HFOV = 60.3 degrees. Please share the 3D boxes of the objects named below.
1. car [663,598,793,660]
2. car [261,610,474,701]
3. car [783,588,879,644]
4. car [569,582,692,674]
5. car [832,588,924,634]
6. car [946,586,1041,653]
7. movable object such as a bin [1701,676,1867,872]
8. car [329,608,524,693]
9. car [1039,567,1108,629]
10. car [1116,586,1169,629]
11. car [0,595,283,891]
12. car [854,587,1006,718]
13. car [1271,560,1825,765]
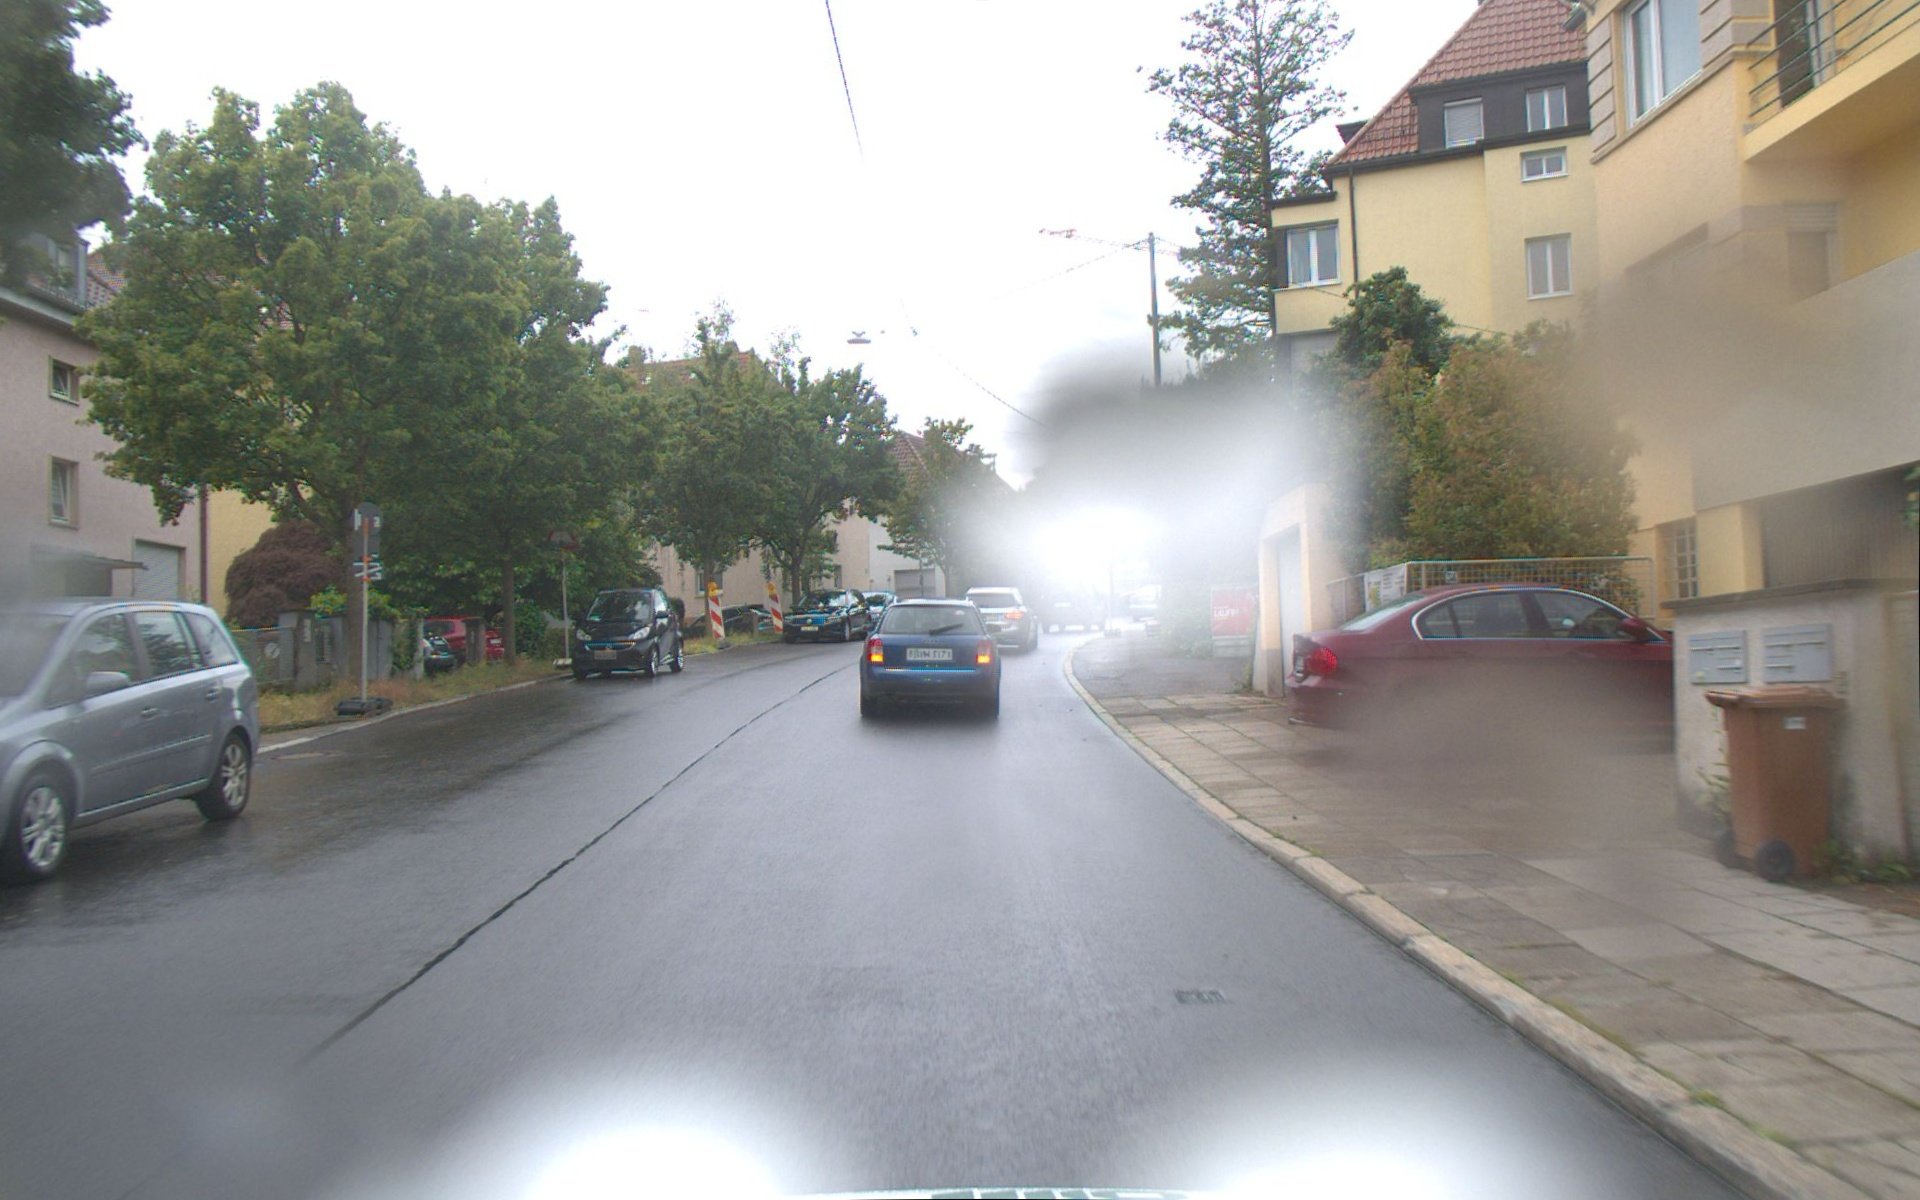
[{"bbox_3d":[-8.440,1.055,60.111,4.157,1.529,1.913,-11,-4,24],"label":"car"},{"bbox_3d":[-12.899,1.198,36.141,3.838,1.383,1.829,-9,-2,7],"label":"car"},{"bbox_3d":[-3.628,0.425,47.338,1.695,1.510,4.534,-1,0,9],"label":"car"},{"bbox_3d":[-5.917,0.472,30.000,1.486,1.561,3.037,-1,0,2],"label":"car"},{"bbox_3d":[-2.583,0.328,53.095,1.670,1.406,4.534,-1,0,14],"label":"car"},{"bbox_3d":[0.837,0.426,38.609,1.868,1.412,4.353,-2,0,5],"label":"car"},{"bbox_3d":[4.126,0.857,8.307,0.557,0.915,0.526,0,0,-4],"label":"movable object such as a bin"},{"bbox_3d":[-12.577,1.180,39.098,3.838,1.418,1.780,-9,-2,7],"label":"car"},{"bbox_3d":[3.839,-0.046,55.400,1.693,1.928,4.058,0,-2,13],"label":"car"},{"bbox_3d":[7.471,0.318,67.516,1.683,1.689,3.717,1,0,14],"label":"car"},{"bbox_3d":[-6.028,0.815,10.585,1.683,1.572,4.292,-4,0,-2],"label":"car"},{"bbox_3d":[-0.336,0.589,21.145,1.741,1.464,4.000,1,1,0],"label":"car"},{"bbox_3d":[4.898,0.491,14.241,4.084,1.430,1.835,-3,1,2],"label":"car"}]
